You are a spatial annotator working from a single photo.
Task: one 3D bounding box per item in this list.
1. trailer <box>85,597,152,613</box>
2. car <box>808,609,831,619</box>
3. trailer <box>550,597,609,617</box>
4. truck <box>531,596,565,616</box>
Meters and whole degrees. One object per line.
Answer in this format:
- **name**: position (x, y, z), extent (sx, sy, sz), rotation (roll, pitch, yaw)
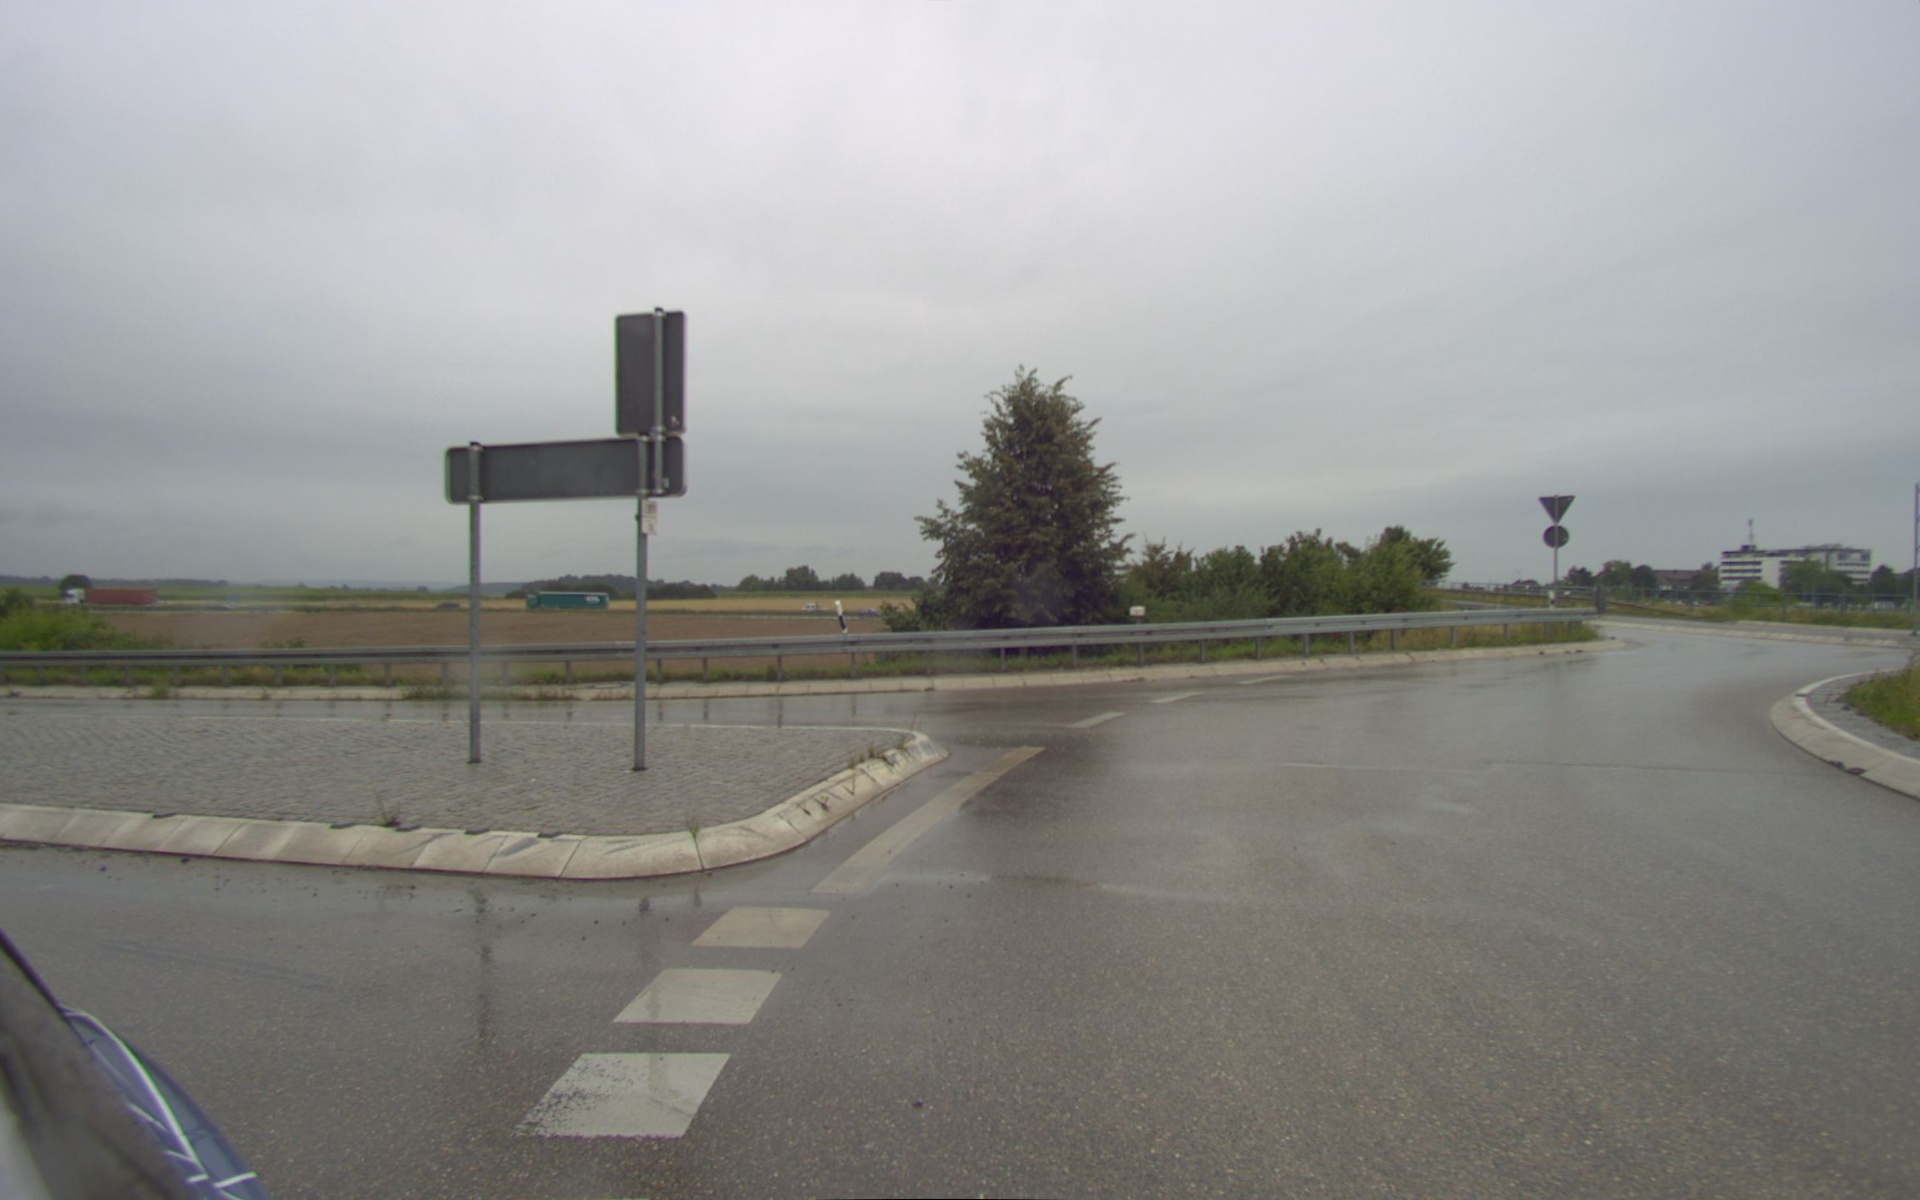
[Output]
- **trailer**: position (-169.916, 0.978, 204.383), extent (11.304, 2.933, 2.003), rotation (1, 2, -5)
- **car**: position (-30.552, 2.991, 220.270), extent (4.742, 2.028, 2.002), rotation (1, 2, -3)
- **trailer**: position (-79.916, 1.391, 212.885), extent (11.304, 3.917, 2.954), rotation (1, 2, -5)
- **truck**: position (-86.438, 1.232, 212.379), extent (6.181, 3.943, 2.954), rotation (1, 2, -5)
